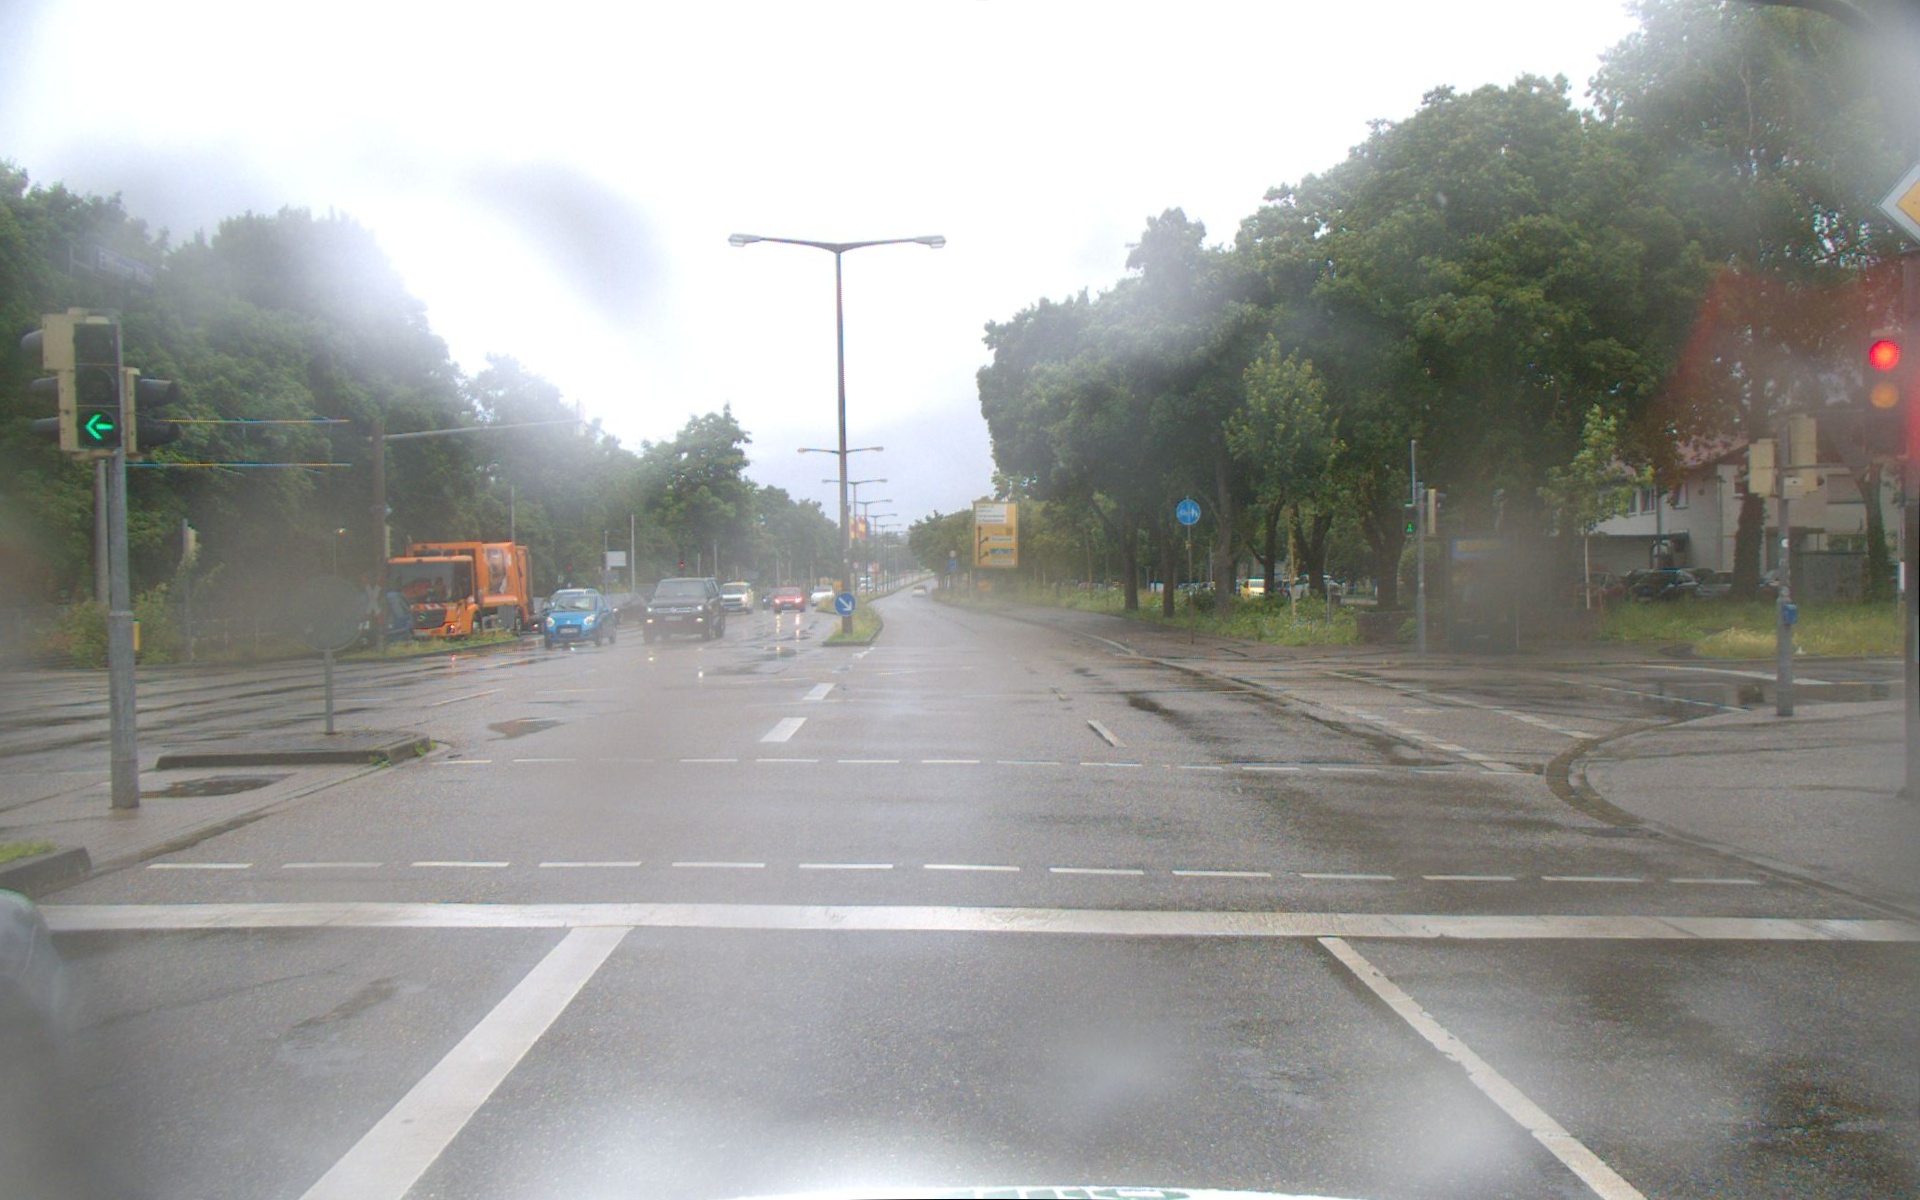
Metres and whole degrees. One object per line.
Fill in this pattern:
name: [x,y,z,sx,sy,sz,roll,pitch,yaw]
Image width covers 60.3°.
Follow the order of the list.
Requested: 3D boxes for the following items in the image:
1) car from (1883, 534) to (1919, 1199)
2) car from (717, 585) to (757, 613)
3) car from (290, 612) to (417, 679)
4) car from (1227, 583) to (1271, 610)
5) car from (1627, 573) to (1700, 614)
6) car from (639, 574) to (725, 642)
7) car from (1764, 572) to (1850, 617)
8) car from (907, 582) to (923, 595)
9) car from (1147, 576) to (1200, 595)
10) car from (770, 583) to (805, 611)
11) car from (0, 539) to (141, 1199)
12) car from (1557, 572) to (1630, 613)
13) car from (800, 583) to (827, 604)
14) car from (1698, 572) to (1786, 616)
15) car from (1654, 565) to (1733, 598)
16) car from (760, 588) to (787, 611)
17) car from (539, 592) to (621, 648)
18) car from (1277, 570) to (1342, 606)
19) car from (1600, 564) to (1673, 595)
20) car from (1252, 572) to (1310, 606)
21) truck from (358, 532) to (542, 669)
car: [3.181,0.674,1.909,1.846,1.638,4.194,1,0,-1]
car: [-13.210,-0.077,98.230,1.855,1.639,4.499,-1,1,-1]
car: [-17.141,1.250,46.997,1.953,1.739,4.526,1,0,-1]
car: [16.904,-0.211,96.825,1.605,1.512,4.070,1,0,-4]
car: [26.051,-0.229,61.201,1.637,1.474,3.736,1,0,37]
car: [-8.113,0.203,48.689,1.769,1.804,5.087,-2,1,-2]
car: [29.518,-0.178,57.578,3.724,1.474,1.577,1,0,-44]
car: [-5.605,-1.435,207.224,1.868,1.541,3.999,-1,1,-1]
car: [19.823,-1.333,153.799,4.483,1.673,1.997,1,0,-7]
car: [-10.378,-0.159,99.936,1.765,1.597,4.426,-2,0,-2]
car: [-2.831,0.680,2.016,1.701,1.571,4.012,-1,0,-1]
car: [23.929,-0.262,62.402,1.637,1.474,3.736,1,0,37]
car: [-12.075,-0.512,136.466,1.921,1.645,4.695,-2,1,-2]
car: [27.892,-0.203,58.958,3.724,1.474,1.643,1,0,-44]
car: [32.747,-0.822,73.976,1.552,1.409,3.997,1,0,-4]
car: [-14.580,-0.024,129.610,1.672,1.670,4.330,-3,1,-1]
car: [-10.925,0.558,47.769,1.608,1.452,3.997,-3,0,-4]
car: [17.566,-0.591,83.365,1.954,1.747,4.875,-1,0,-4]
car: [30.118,-0.885,73.722,1.541,1.339,3.699,1,0,-4]
car: [17.206,-0.595,88.897,1.954,1.747,4.638,-1,0,-4]
truck: [-17.296,0.024,57.037,3.316,4.240,10.403,1,0,-2]
